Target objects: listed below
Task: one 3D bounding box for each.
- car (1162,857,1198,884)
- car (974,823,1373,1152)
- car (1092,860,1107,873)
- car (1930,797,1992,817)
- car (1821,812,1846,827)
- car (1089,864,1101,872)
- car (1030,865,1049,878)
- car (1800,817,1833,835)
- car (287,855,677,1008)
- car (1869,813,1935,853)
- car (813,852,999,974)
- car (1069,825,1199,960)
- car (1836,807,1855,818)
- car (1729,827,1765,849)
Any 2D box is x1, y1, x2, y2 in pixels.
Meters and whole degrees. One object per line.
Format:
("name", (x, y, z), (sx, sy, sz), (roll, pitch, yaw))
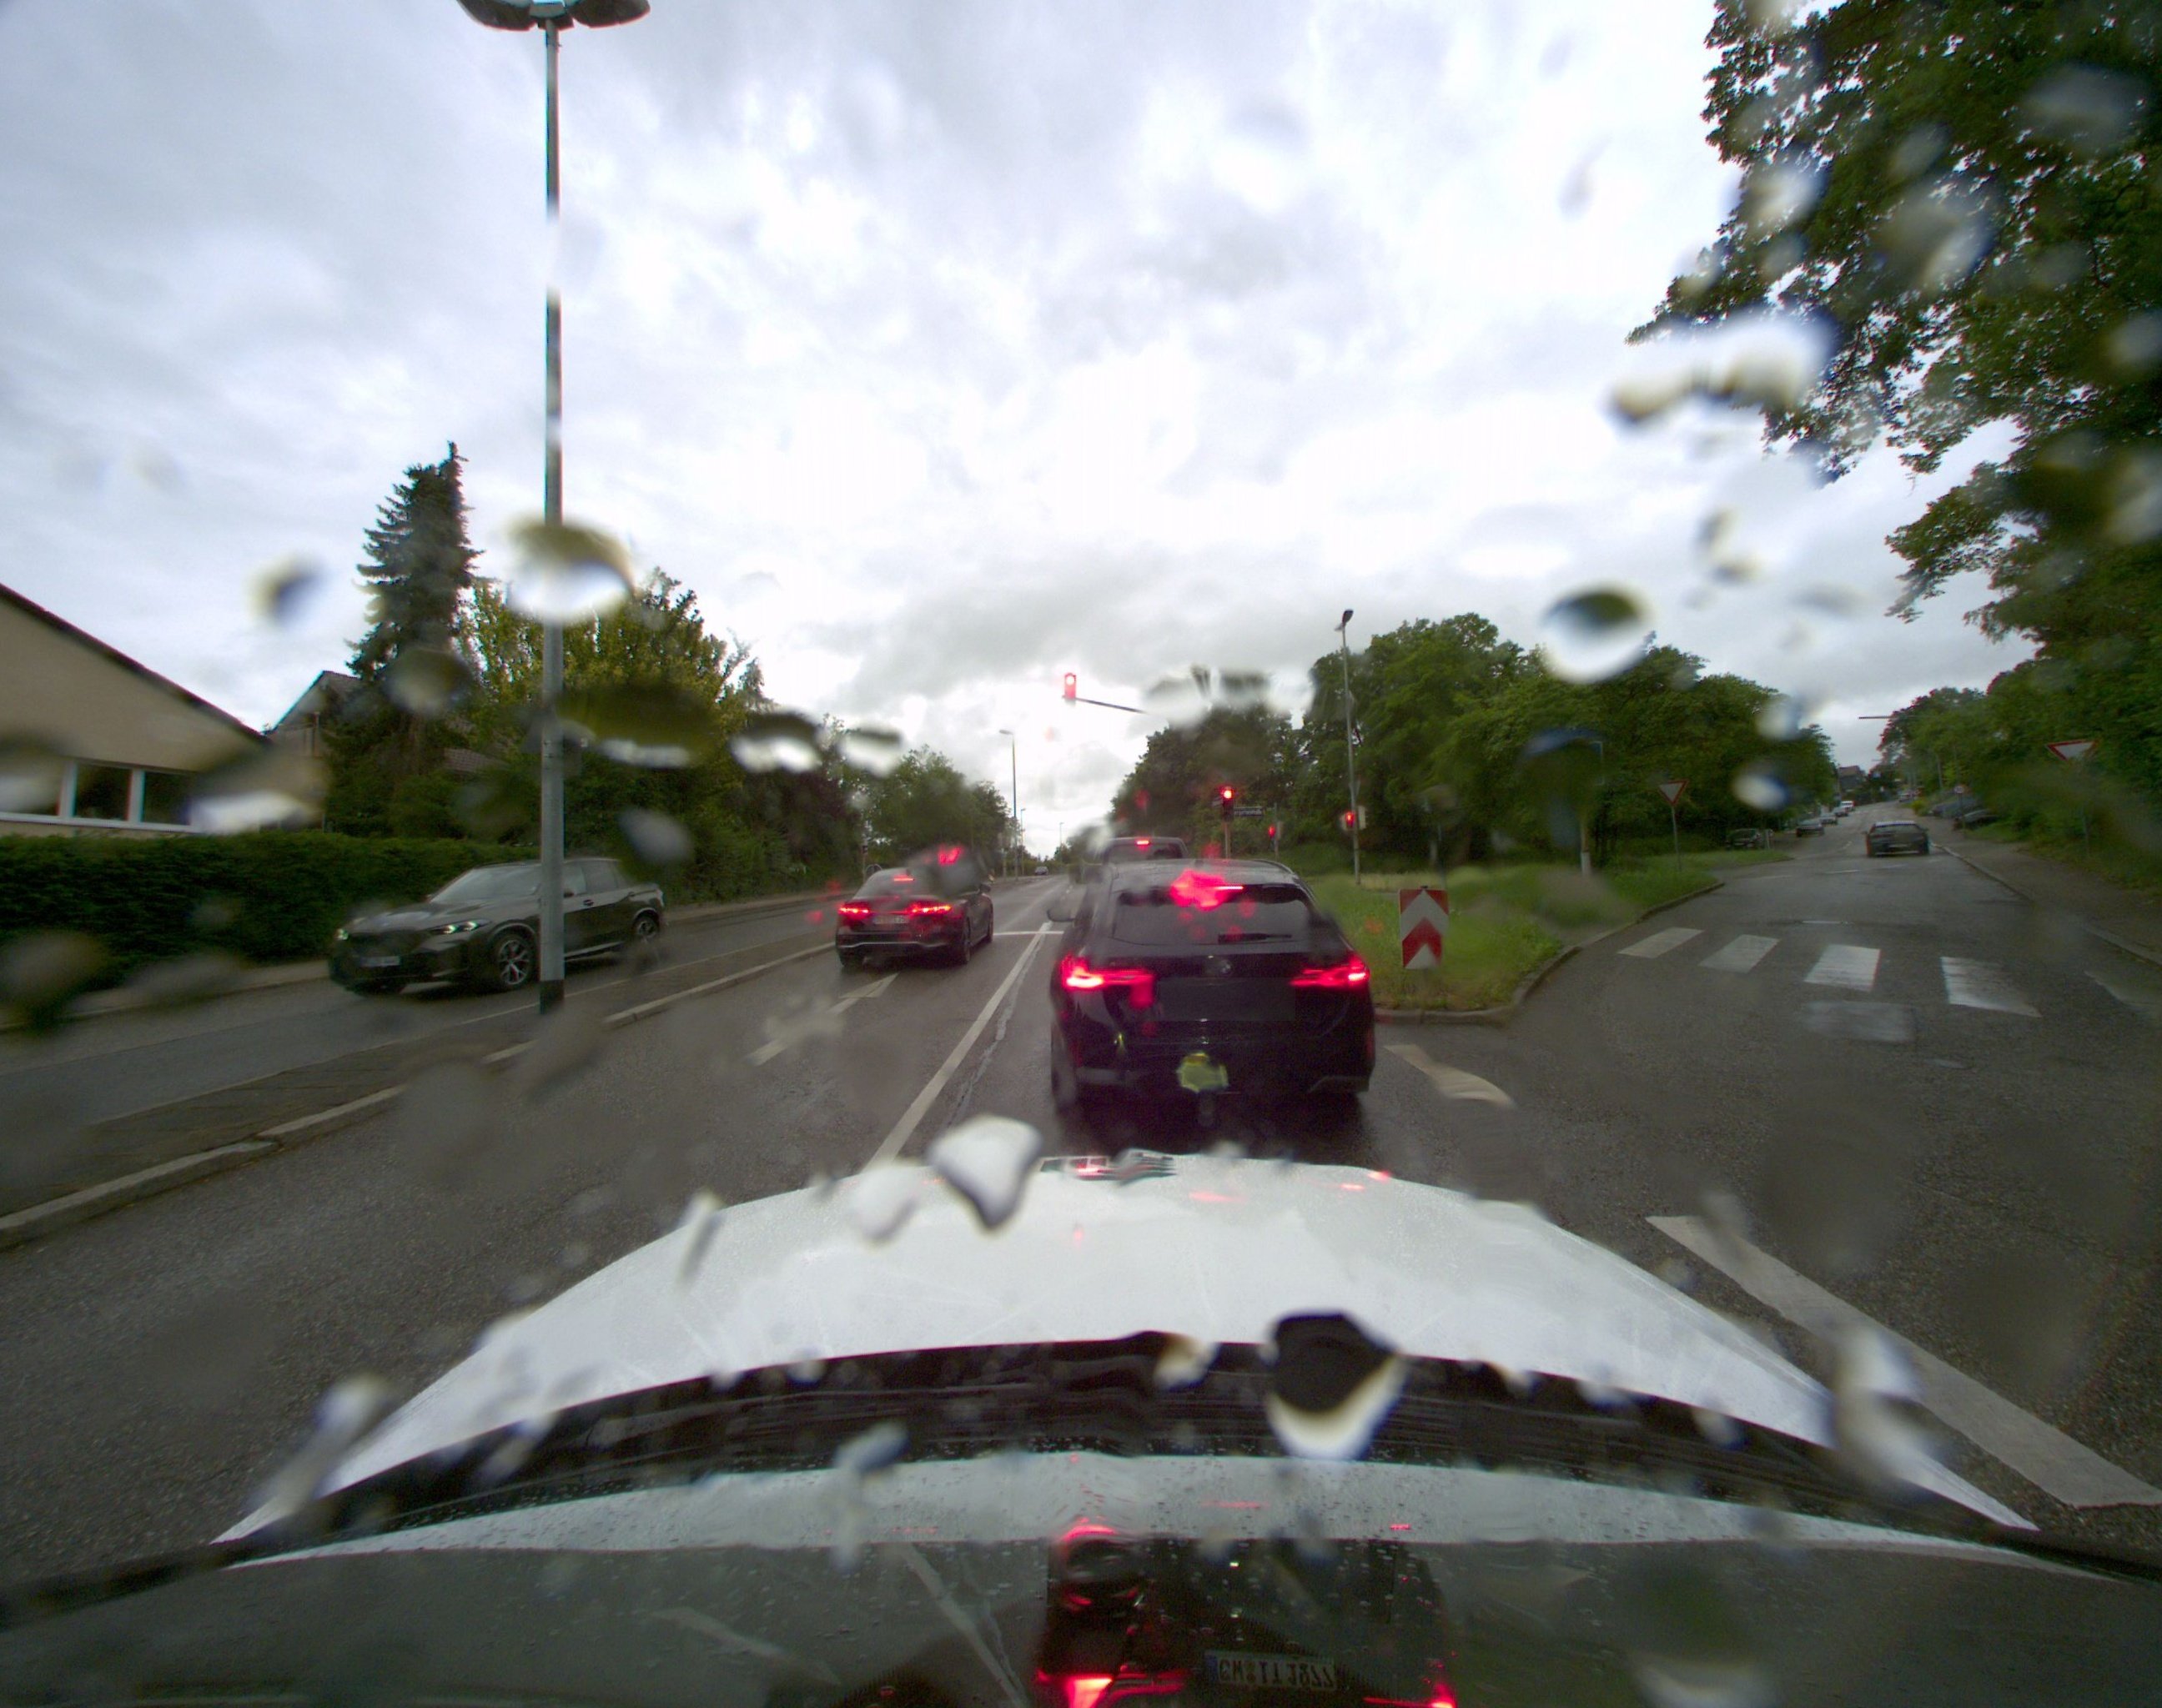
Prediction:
("car", (6.339, 1.026, 52.421), (1.866, 1.543, 3.954), (-4, -1, 2))
("car", (0.642, 0.685, 6.226), (1.889, 1.551, 4.621), (-1, -1, 5))
("car", (2.238, 1.497, 98.466), (1.691, 1.427, 3.515), (-4, -1, 2))
("car", (87.628, -4.685, 81.156), (3.949, 1.574, 1.785), (-5, -1, 42))
("car", (88.223, -4.039, 95.512), (1.971, 1.446, 4.321), (-2, -1, 40))
("car", (3.278, 3.132, 185.393), (1.980, 1.611, 3.683), (-4, -1, 12))
("car", (-6.280, 2.655, 123.679), (1.982, 1.826, 4.009), (-4, -1, 8))
("car", (66.287, -2.513, 73.386), (4.318, 1.450, 1.881), (0, -1, -44))
("car", (-8.306, 0.928, 12.042), (1.985, 1.717, 4.722), (-3, 0, 4))
("car", (34.163, -0.899, 33.904), (4.187, 1.442, 1.795), (-4, 1, -44))
("car", (-2.590, 0.822, 13.201), (1.987, 1.527, 4.326), (-4, -1, 0))
("car", (0.829, 0.566, 13.465), (1.811, 1.868, 3.954), (-1, -1, 2))
("car", (114.522, -6.203, 122.032), (1.880, 1.397, 4.193), (-2, -1, 40))
("car", (46.031, -1.125, 56.274), (1.655, 1.370, 3.511), (-3, 0, 43))
